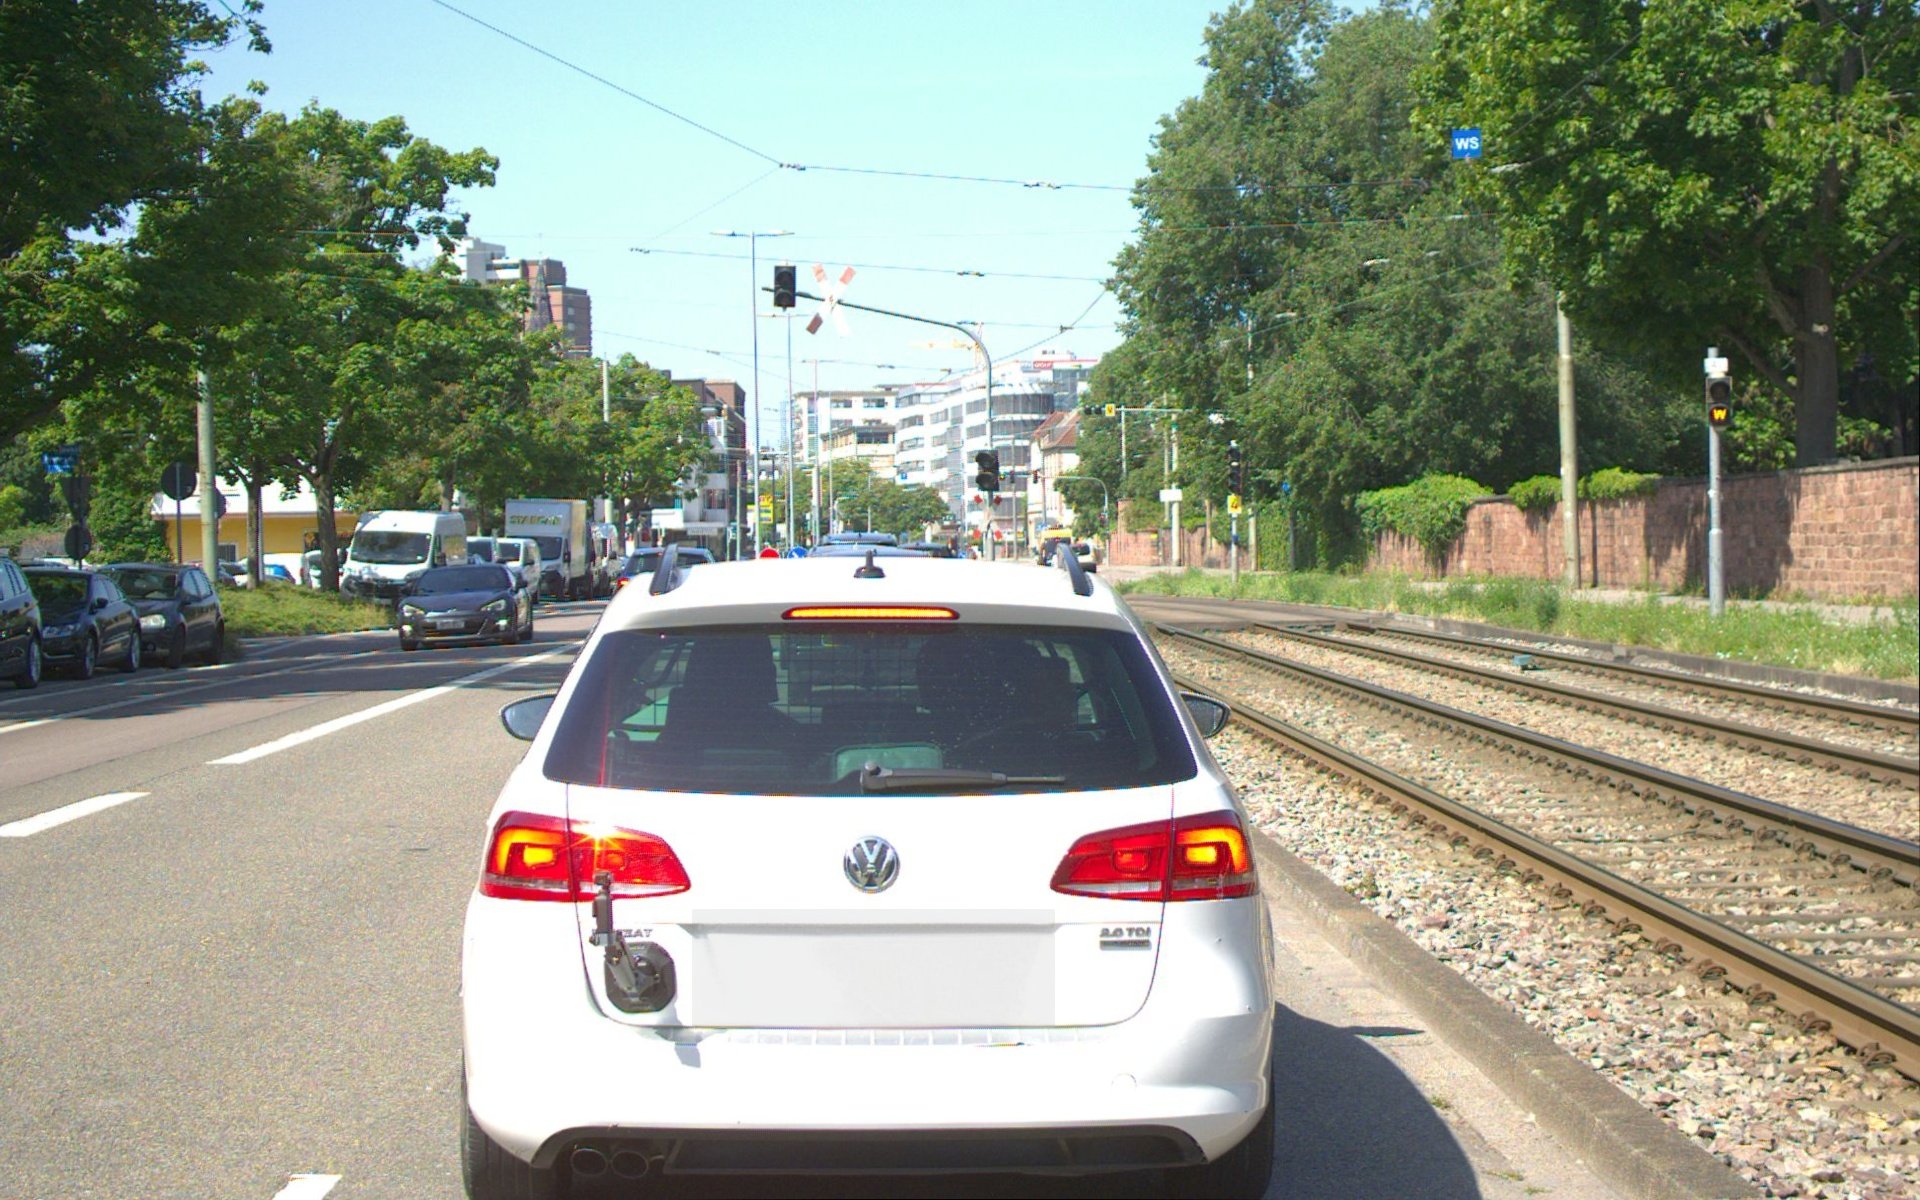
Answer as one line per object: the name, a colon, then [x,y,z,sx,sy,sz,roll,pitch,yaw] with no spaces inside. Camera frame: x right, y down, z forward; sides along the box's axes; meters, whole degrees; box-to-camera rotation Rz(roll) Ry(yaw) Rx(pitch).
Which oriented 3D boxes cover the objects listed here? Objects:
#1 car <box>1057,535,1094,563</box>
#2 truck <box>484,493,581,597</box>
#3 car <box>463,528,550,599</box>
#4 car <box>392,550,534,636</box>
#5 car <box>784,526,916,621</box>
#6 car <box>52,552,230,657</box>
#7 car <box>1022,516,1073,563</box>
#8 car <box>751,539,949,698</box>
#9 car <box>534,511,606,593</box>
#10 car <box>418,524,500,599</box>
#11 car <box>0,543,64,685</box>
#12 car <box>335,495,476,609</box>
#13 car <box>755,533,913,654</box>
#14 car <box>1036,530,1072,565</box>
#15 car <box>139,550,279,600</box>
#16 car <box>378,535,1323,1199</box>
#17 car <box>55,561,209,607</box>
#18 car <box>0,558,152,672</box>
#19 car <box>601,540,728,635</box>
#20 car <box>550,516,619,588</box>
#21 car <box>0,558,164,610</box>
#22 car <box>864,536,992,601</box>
car: [5.643,-2.495,168.499,1.581,1.341,3.454,1,0,-1]
truck: [-13.447,-1.746,108.525,2.356,3.112,6.892,-1,1,-2]
car: [-13.083,-1.064,99.352,1.843,1.954,5.134,-1,1,-1]
car: [-7.701,-0.135,53.569,1.687,1.240,4.065,-1,1,-1]
car: [-1.800,-0.464,57.187,1.861,1.508,3.913,1,1,3]
car: [-11.941,0.032,50.332,1.641,1.445,4.004,1,1,0]
car: [4.842,-3.325,191.119,2.463,2.490,5.911,1,0,-1]
car: [-1.030,0.128,32.479,1.746,1.383,3.913,1,1,-2]
car: [-13.092,-1.622,115.561,1.843,2.659,5.003,-1,1,-1]
car: [-13.615,-1.063,93.615,1.843,1.930,5.195,-2,1,-5]
car: [-11.820,0.154,39.742,1.762,1.600,4.894,0,1,-1]
car: [-12.858,-1.136,80.070,2.059,2.492,6.307,1,1,1]
car: [-1.554,-0.120,43.014,1.861,1.412,4.325,1,1,-2]
car: [4.976,-2.771,182.682,1.691,1.806,3.454,1,0,-1]
car: [-23.792,-0.802,108.956,3.987,1.439,1.771,-1,1,2]
car: [-0.276,0.577,8.455,1.768,1.441,3.913,1,1,-2]
car: [-23.860,-0.466,99.154,3.987,1.221,1.771,-1,1,2]
car: [-12.009,0.167,45.291,1.690,1.375,4.783,-1,1,-1]
car: [-4.629,-0.219,54.227,1.746,1.403,3.913,1,1,-1]
car: [-13.465,-1.731,123.483,1.843,2.486,5.857,-1,1,-1]
car: [-23.482,-0.432,91.765,3.987,1.260,1.771,-1,1,2]
car: [-0.687,-0.717,77.162,1.747,1.403,3.910,1,1,17]
